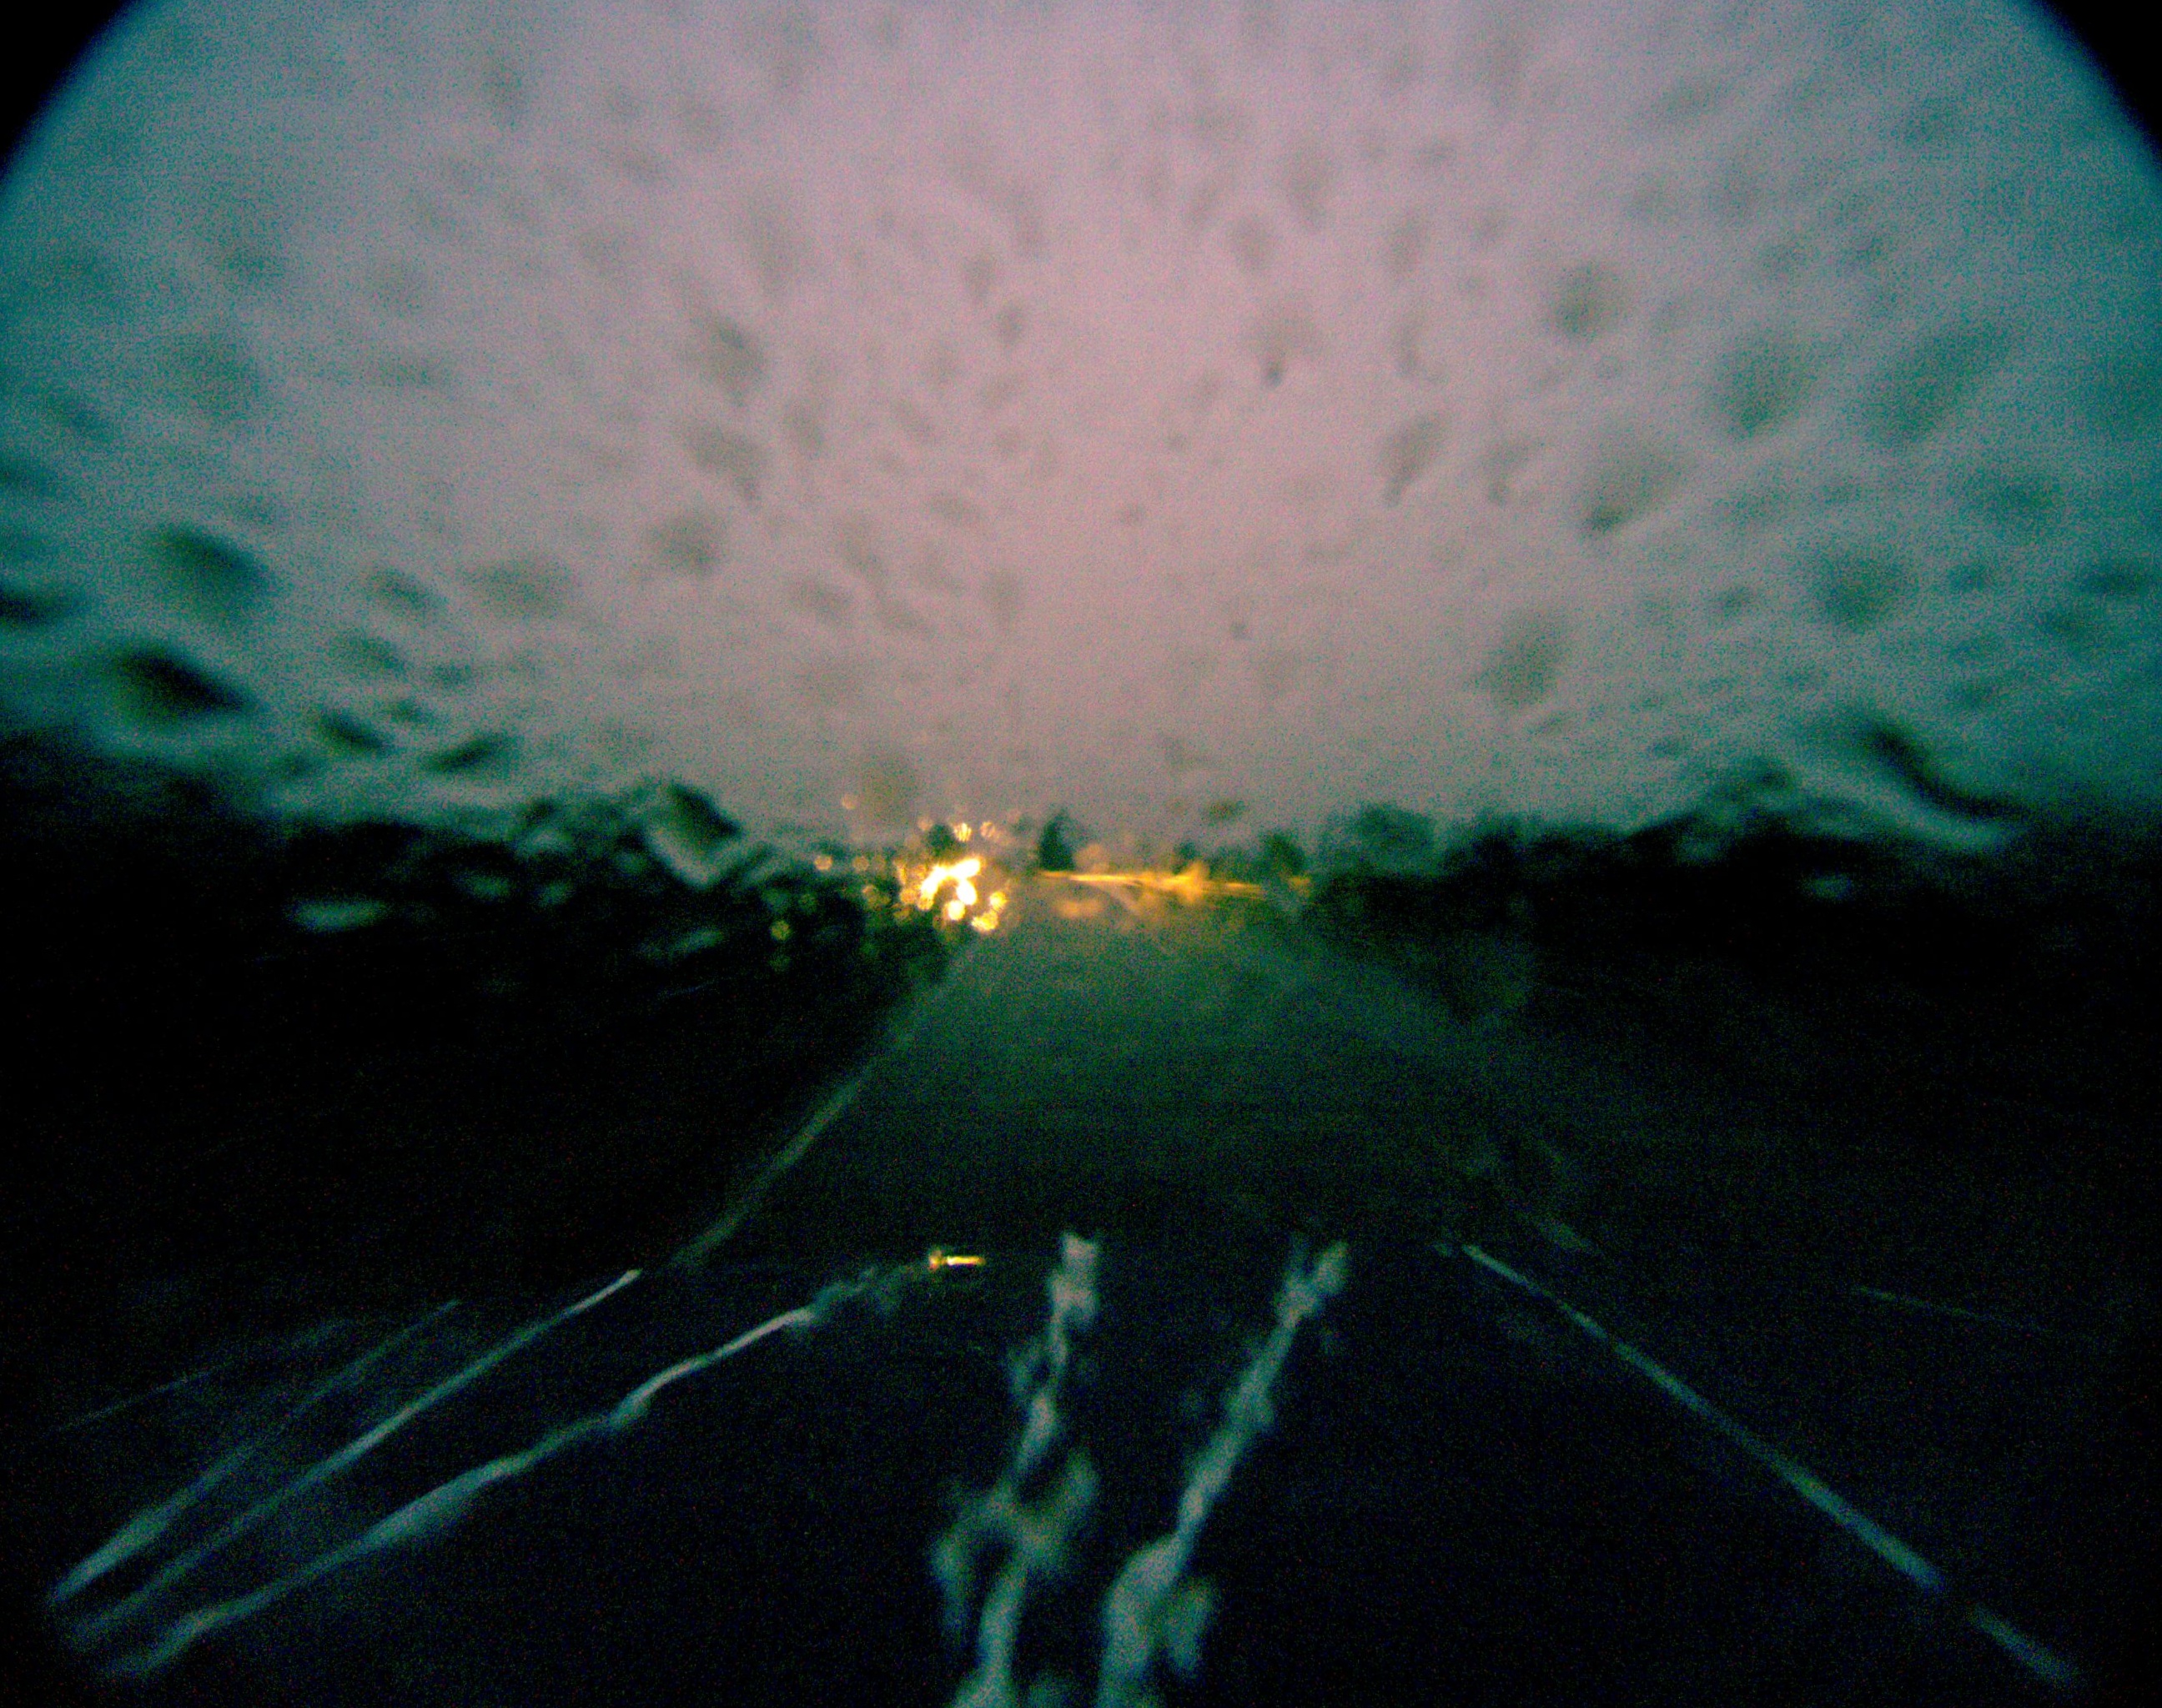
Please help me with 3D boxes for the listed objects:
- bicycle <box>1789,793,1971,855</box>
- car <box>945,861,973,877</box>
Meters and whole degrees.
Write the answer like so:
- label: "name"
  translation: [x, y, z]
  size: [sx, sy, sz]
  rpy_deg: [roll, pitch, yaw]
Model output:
- label: "bicycle"
  translation: [28.208, -0.996, 27.022]
  size: [2.000, 2.002, 3.996]
  rpy_deg: [-2, 0, -9]
- label: "car"
  translation: [-12.754, 1.584, 79.154]
  size: [2.105, 1.565, 4.792]
  rpy_deg: [1, -1, -18]
